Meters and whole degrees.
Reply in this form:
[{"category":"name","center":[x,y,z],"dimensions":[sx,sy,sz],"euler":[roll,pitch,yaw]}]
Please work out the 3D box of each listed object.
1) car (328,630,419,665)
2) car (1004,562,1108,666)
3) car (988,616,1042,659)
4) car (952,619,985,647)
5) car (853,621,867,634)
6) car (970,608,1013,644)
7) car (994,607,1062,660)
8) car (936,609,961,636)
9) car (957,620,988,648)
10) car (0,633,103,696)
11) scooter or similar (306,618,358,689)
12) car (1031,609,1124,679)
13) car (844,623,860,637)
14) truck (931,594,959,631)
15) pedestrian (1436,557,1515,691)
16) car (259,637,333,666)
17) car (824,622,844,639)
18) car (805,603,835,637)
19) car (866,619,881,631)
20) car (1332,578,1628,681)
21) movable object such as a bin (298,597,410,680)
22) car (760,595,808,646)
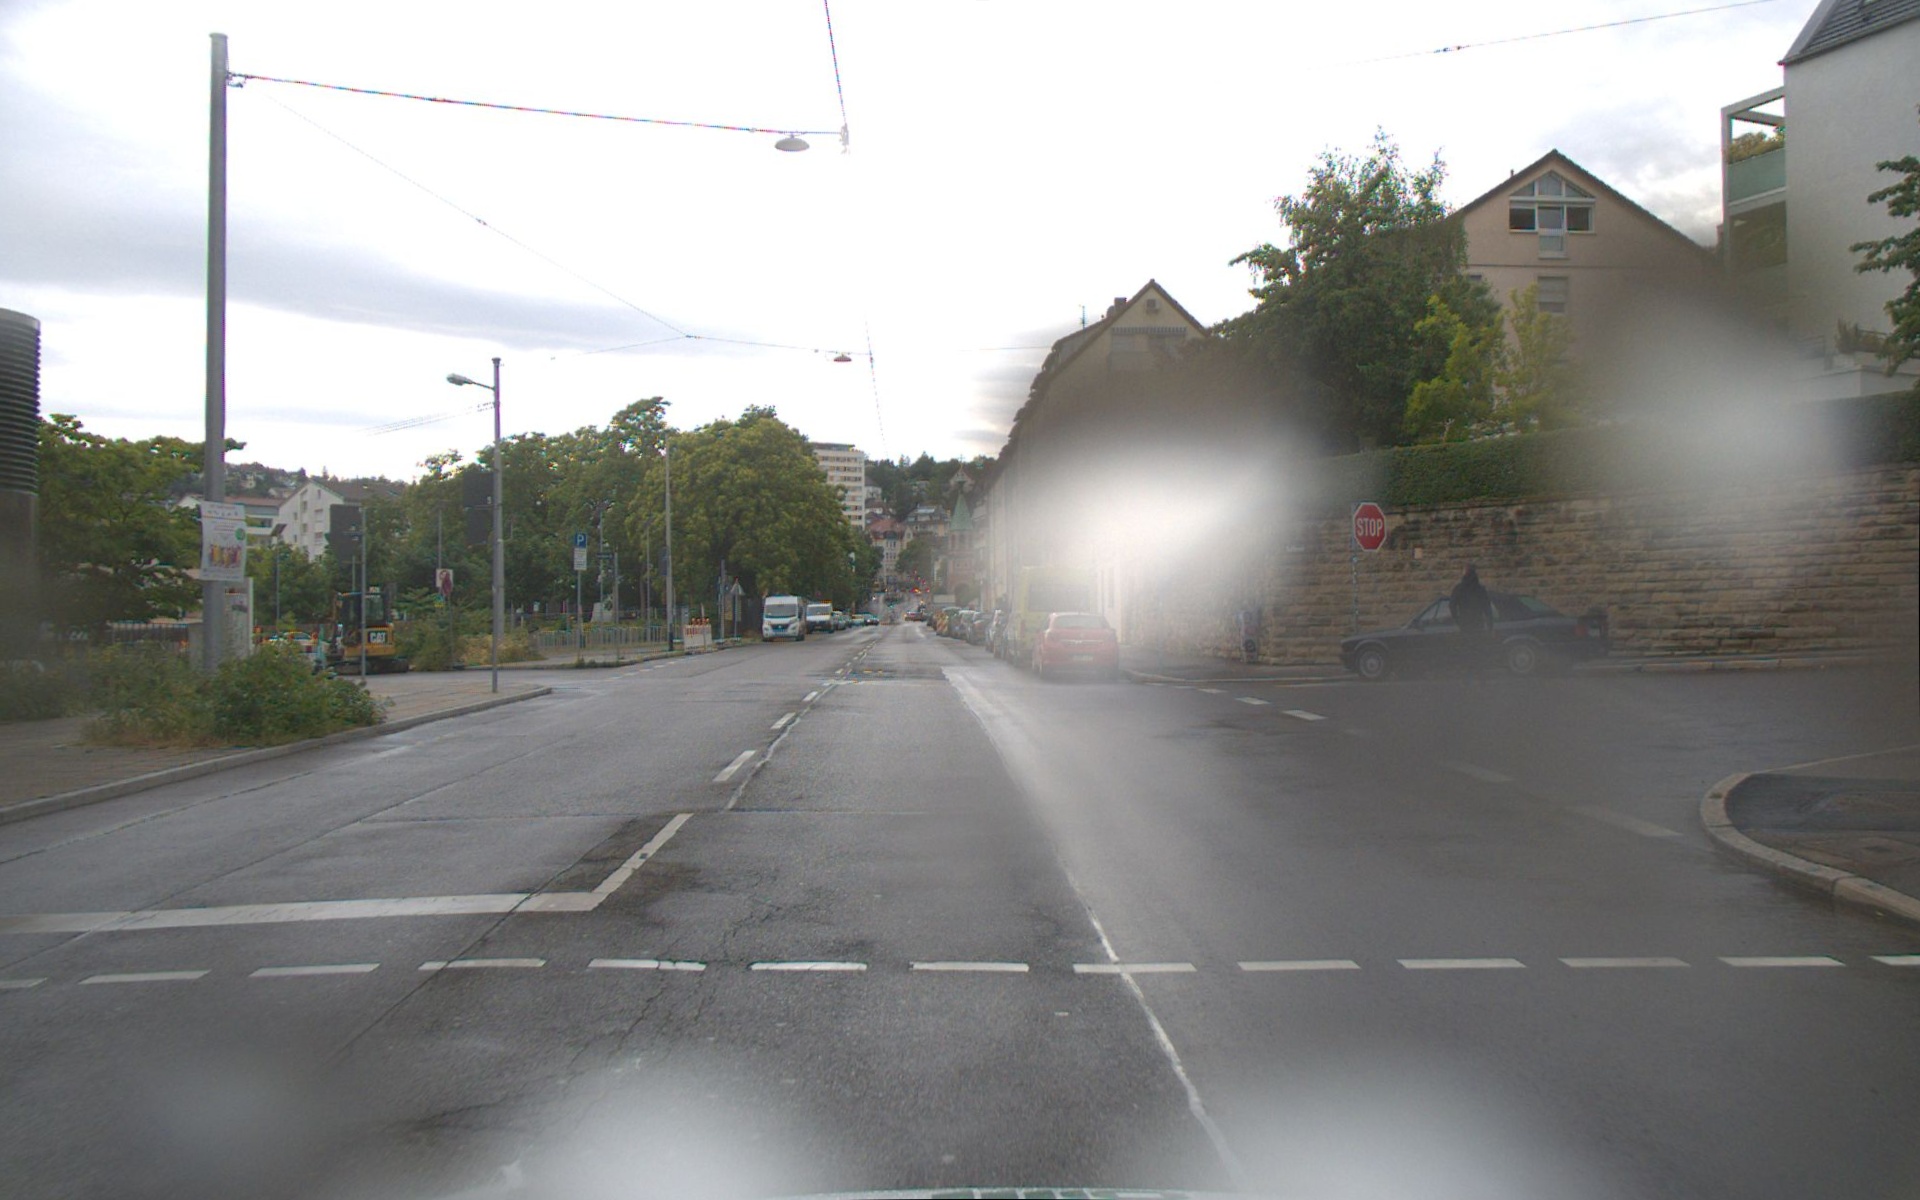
[{"category":"car","center":[-34.254,2.776,96.677],"dimensions":[1.962,1.866,4.669],"euler":[-2,-1,39]},{"category":"car","center":[2.406,0.367,43.112],"dimensions":[2.161,2.506,6.077],"euler":[1,0,-2]},{"category":"car","center":[2.005,1.422,61.010],"dimensions":[1.654,1.479,4.232],"euler":[1,-3,-3]},{"category":"car","center":[0.487,1.905,95.847],"dimensions":[1.682,1.551,3.998],"euler":[1,0,-3]},{"category":"car","center":[-12.200,3.392,202.491],"dimensions":[1.675,1.476,4.291],"euler":[-1,-2,-3]},{"category":"car","center":[1.347,1.098,71.243],"dimensions":[1.596,1.479,3.757],"euler":[1,0,-3]},{"category":"car","center":[1.973,0.963,49.020],"dimensions":[1.654,1.479,4.233],"euler":[1,0,-3]},{"category":"car","center":[-0.872,1.712,125.298],"dimensions":[1.781,1.958,4.237],"euler":[-2,-1,-1]},{"category":"car","center":[0.670,1.856,90.445],"dimensions":[1.527,1.479,3.757],"euler":[1,0,-3]},{"category":"car","center":[-39.911,2.824,71.866],"dimensions":[5.624,2.455,2.661],"euler":[-3,0,39]},{"category":"scooter or similar","center":[-11.575,0.982,30.527],"dimensions":[0.486,1.270,1.231],"euler":[0,-2,-1]},{"category":"car","center":[2.522,0.930,36.409],"dimensions":[1.686,1.446,4.202],"euler":[1,0,-1]},{"category":"car","center":[-12.277,3.420,187.514],"dimensions":[1.767,1.476,4.653],"euler":[-1,-2,-4]},{"category":"truck","center":[-1.386,1.205,151.558],"dimensions":[2.419,3.228,7.033],"euler":[-1,-1,-1]},{"category":"pedestrian","center":[6.975,0.322,22.399],"dimensions":[0.709,1.745,0.905],"euler":[-2,0,-1]},{"category":"car","center":[-41.510,3.188,103.444],"dimensions":[1.766,1.654,3.980],"euler":[-2,-1,39]},{"category":"car","center":[-11.178,2.706,146.736],"dimensions":[1.649,1.423,3.908],"euler":[-2,-1,-3]},{"category":"car","center":[-11.065,1.564,130.936],"dimensions":[1.971,2.531,5.981],"euler":[-2,-1,-1]},{"category":"car","center":[-11.072,3.209,210.814],"dimensions":[1.770,1.440,4.379],"euler":[-1,-1,-4]},{"category":"car","center":[8.400,0.514,26.919],"dimensions":[4.199,1.417,1.743],"euler":[-5,-3,40]},{"category":"movable object such as a bin","center":[-19.437,1.226,52.922],"dimensions":[1.656,2.502,5.209],"euler":[0,-1,-41]},{"category":"car","center":[-9.748,1.144,92.118],"dimensions":[2.186,2.624,6.533],"euler":[-2,-1,-3]}]
